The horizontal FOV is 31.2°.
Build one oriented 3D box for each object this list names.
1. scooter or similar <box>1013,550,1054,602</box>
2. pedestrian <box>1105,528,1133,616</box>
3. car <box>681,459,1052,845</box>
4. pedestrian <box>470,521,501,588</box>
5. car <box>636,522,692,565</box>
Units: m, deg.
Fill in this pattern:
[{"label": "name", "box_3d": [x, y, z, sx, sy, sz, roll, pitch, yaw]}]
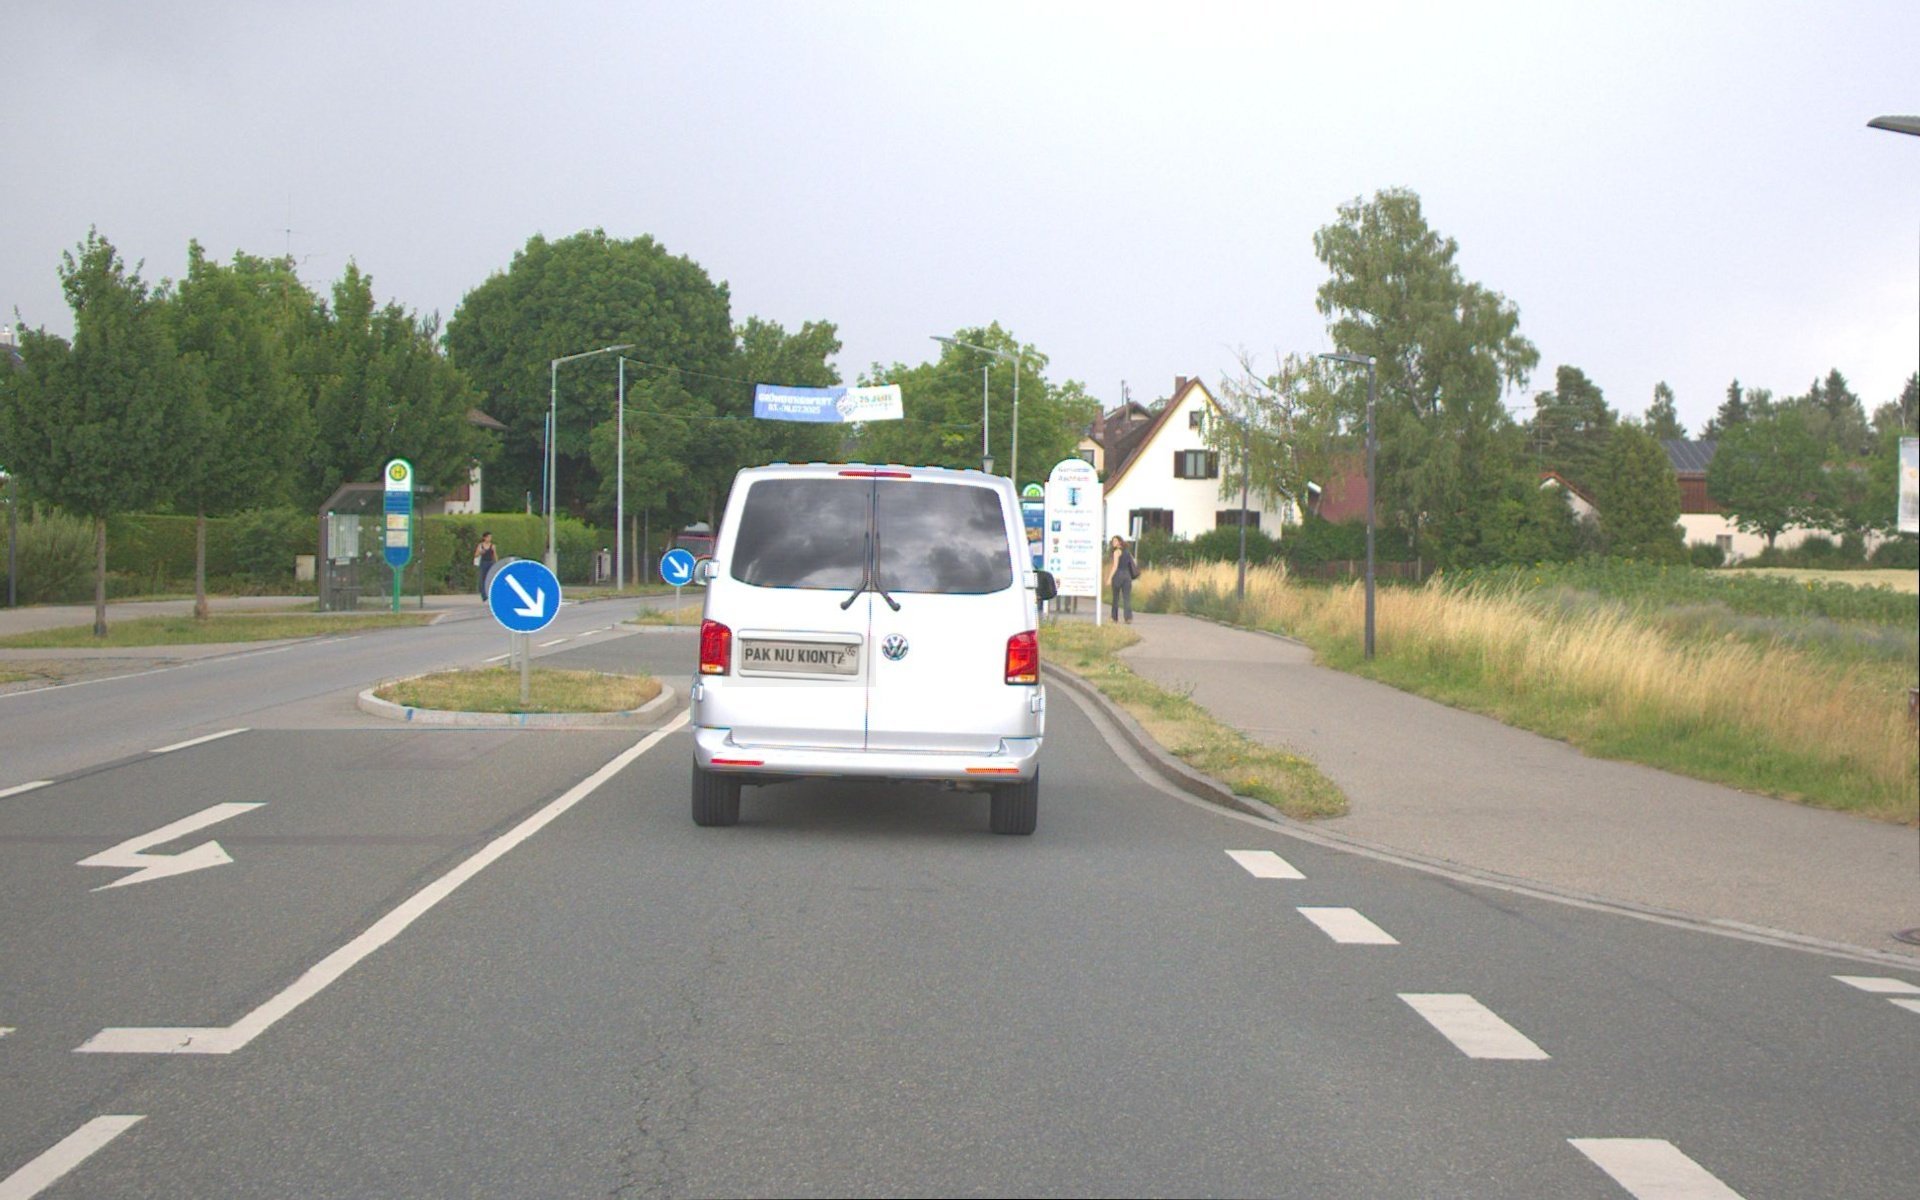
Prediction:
[{"label": "scooter or similar", "box_3d": [1.619, -0.535, 75.957, 0.848, 1.100, 1.094, -1, 1, -1]}, {"label": "pedestrian", "box_3d": [3.159, -0.562, 68.111, 0.485, 1.726, 0.642, -1, 1, 7]}, {"label": "car", "box_3d": [-0.557, 0.217, 19.444, 1.825, 1.907, 4.001, 2, 1, -2]}, {"label": "pedestrian", "box_3d": [-10.965, -1.055, 79.487, 0.623, 1.519, 0.680, -1, 1, -1]}, {"label": "car", "box_3d": [-10.095, -1.945, 117.522, 1.653, 1.424, 3.603, -1, 1, -1]}]
